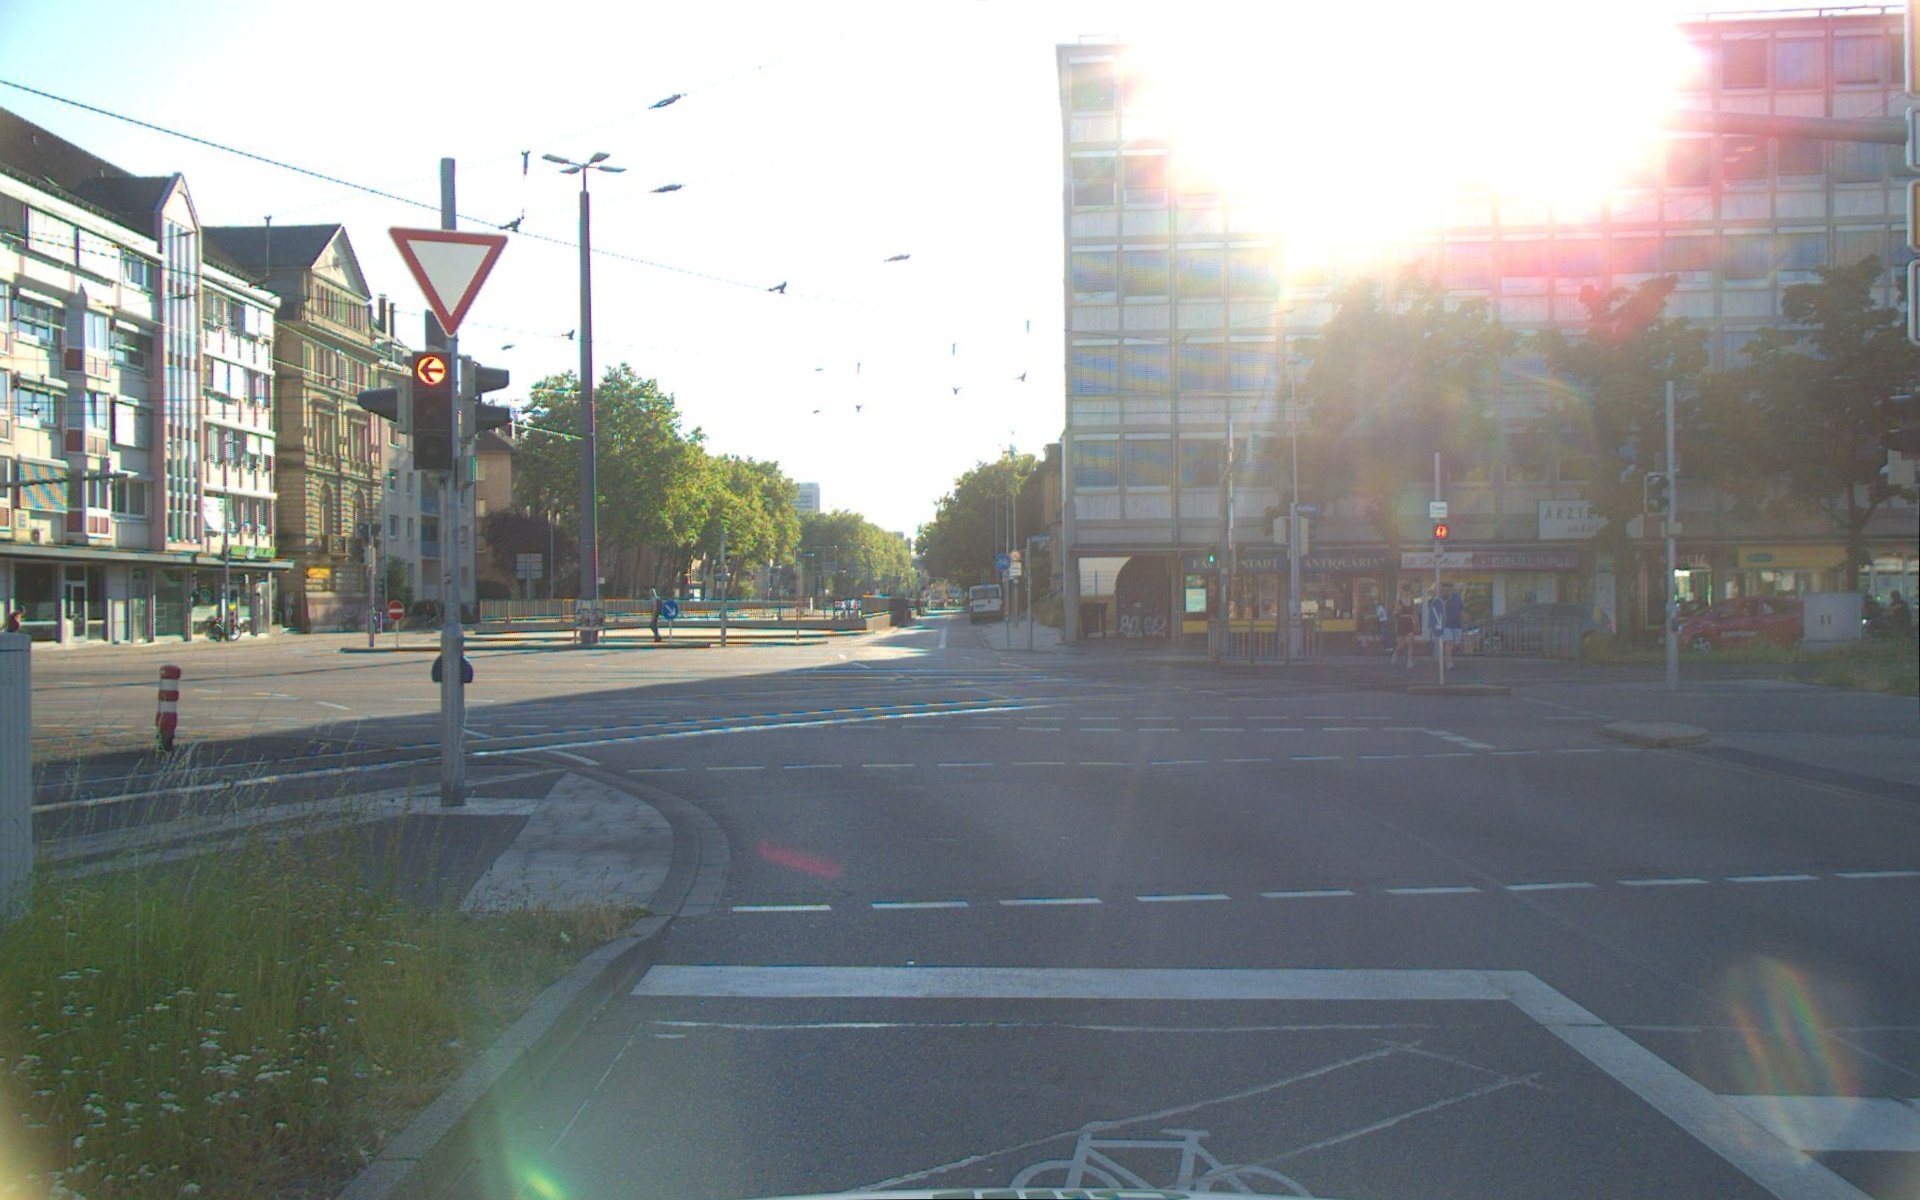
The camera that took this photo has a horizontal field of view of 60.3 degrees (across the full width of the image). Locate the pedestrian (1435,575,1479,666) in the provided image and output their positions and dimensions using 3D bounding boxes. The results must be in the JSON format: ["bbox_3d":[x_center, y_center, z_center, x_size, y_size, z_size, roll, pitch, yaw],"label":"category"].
[{"bbox_3d":[10.183,0.413,33.900,0.680,1.824,1.043,1,0,7],"label":"pedestrian"}]

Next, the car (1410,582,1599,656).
[{"bbox_3d":[12.858,0.447,39.214,3.903,1.646,1.845,1,0,4],"label":"car"}]

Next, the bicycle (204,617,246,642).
[{"bbox_3d":[-32.434,1.294,73.030,0.441,1.089,2.093,1,0,16],"label":"bicycle"}]

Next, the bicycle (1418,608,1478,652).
[{"bbox_3d":[14.588,0.879,49.546,0.735,1.163,2.638,1,2,-6],"label":"bicycle"}]

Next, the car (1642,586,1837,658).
[{"bbox_3d":[18.910,0.525,40.253,3.903,1.646,1.845,1,0,4],"label":"car"}]

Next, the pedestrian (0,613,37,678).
[{"bbox_3d":[-29.884,1.415,52.039,1.171,1.915,0.856,1,7,-5],"label":"pedestrian"}]

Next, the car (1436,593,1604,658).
[{"bbox_3d":[15.128,0.679,44.841,3.982,1.646,1.845,1,0,4],"label":"car"}]

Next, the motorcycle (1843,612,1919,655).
[{"bbox_3d":[22.886,0.818,40.082,2.606,1.019,0.535,1,0,4],"label":"motorcycle"}]

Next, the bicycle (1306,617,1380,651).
[{"bbox_3d":[11.195,0.980,48.381,1.983,0.957,0.671,1,0,-2],"label":"bicycle"}]

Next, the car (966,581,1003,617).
[{"bbox_3d":[1.567,-0.054,103.938,2.238,2.210,4.834,1,0,1],"label":"car"}]

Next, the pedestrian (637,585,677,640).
[{"bbox_3d":[-9.917,0.416,54.097,1.171,1.761,0.855,1,-1,-5],"label":"pedestrian"}]

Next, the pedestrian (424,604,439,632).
[{"bbox_3d":[-32.452,1.089,101.614,0.681,1.725,0.724,1,-1,-1],"label":"pedestrian"}]

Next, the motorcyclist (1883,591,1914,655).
[{"bbox_3d":[22.743,0.557,40.099,0.451,1.535,0.535,1,-1,4],"label":"motorcyclist"}]

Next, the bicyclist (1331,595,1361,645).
[{"bbox_3d":[11.294,0.582,48.400,0.665,1.449,0.671,1,-1,-2],"label":"bicyclist"}]

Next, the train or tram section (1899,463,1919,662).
[{"bbox_3d":[25.303,-0.801,31.170,13.042,3.901,3.716,-1,0,0],"label":"train or tram section"}]

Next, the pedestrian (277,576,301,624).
[{"bbox_3d":[-34.518,0.003,85.079,0.910,2.440,0.958,1,-1,-11],"label":"pedestrian"}]

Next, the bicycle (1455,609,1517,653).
[{"bbox_3d":[15.759,0.909,49.611,0.735,1.163,2.638,1,2,-6],"label":"bicycle"}]

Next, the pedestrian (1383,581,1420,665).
[{"bbox_3d":[9.236,0.476,34.620,0.680,1.712,1.043,1,0,12],"label":"pedestrian"}]
